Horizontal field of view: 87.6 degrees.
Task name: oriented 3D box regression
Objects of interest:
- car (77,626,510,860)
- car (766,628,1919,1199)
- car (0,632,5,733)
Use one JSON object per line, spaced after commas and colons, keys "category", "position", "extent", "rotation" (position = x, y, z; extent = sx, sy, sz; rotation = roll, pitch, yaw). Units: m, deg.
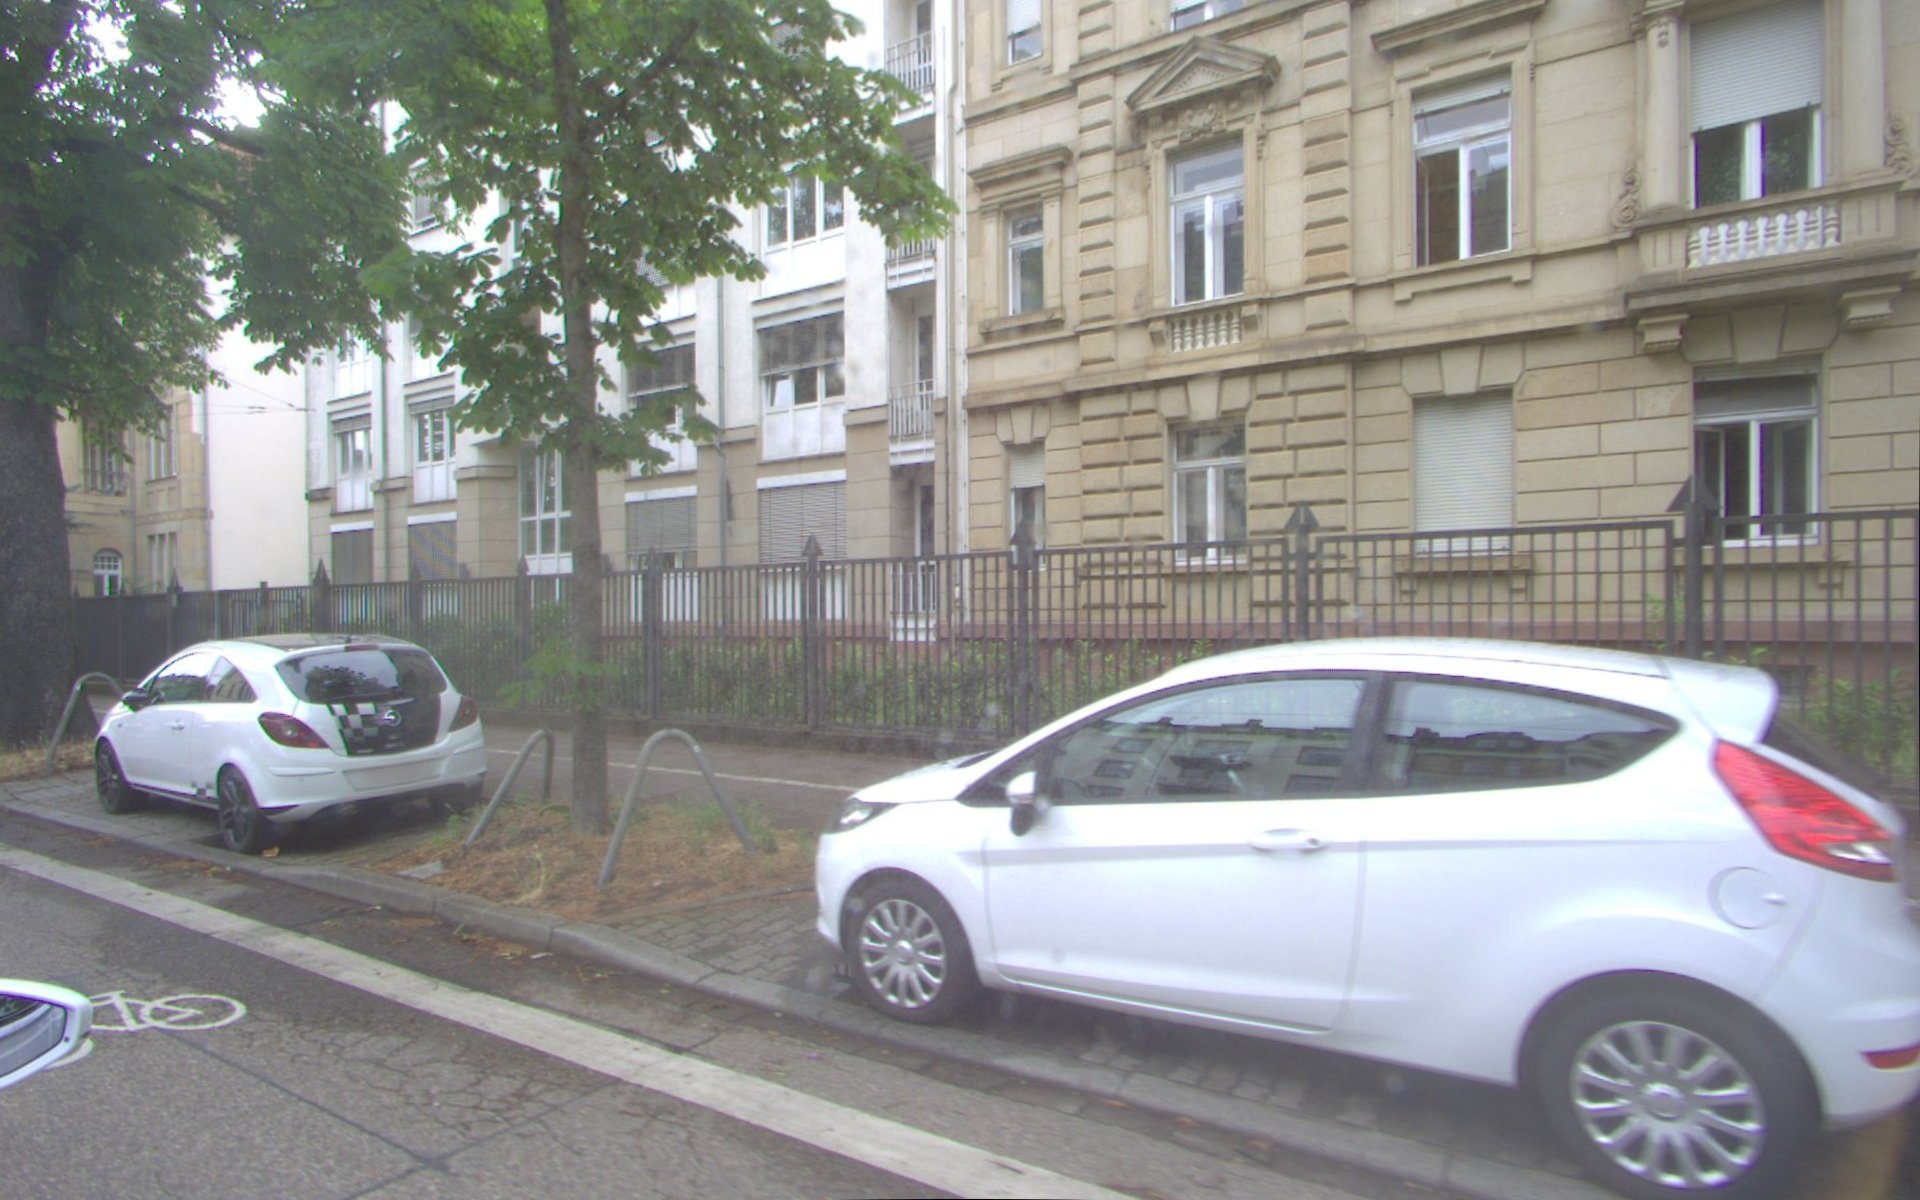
{"category": "car", "position": [-5.539, 0.977, 8.216], "extent": [3.724, 1.455, 1.598], "rotation": [-1, 1, 33]}
{"category": "car", "position": [1.201, 0.875, 3.864], "extent": [3.711, 1.455, 1.623], "rotation": [-1, 1, 32]}
{"category": "car", "position": [-15.627, 1.209, 14.517], "extent": [4.167, 1.418, 1.598], "rotation": [-1, 1, 32]}
